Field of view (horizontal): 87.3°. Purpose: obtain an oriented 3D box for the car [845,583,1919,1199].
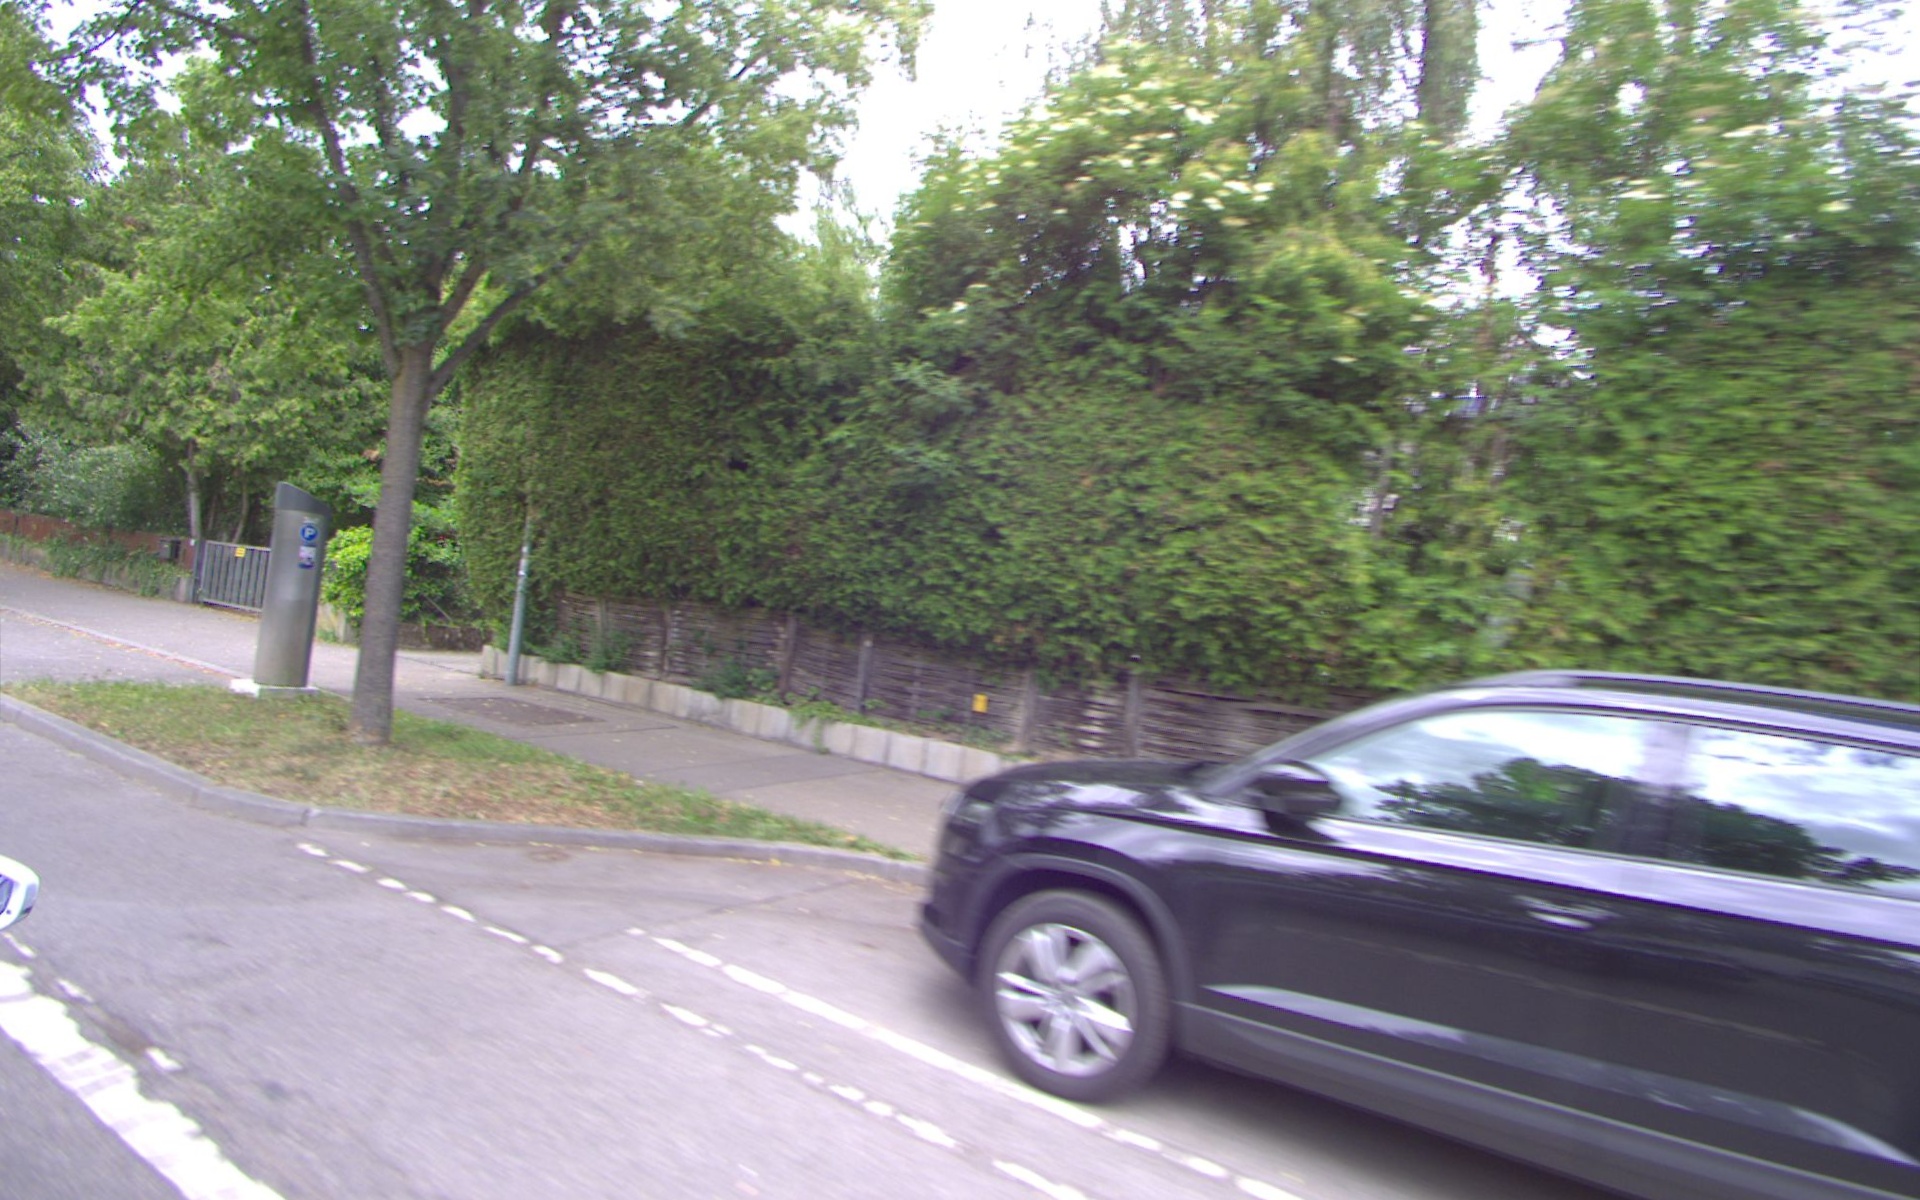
[{"bbox_3d":[1.839,1.032,3.395,4.099,1.634,1.642,7,-2,30],"label":"car"}]
